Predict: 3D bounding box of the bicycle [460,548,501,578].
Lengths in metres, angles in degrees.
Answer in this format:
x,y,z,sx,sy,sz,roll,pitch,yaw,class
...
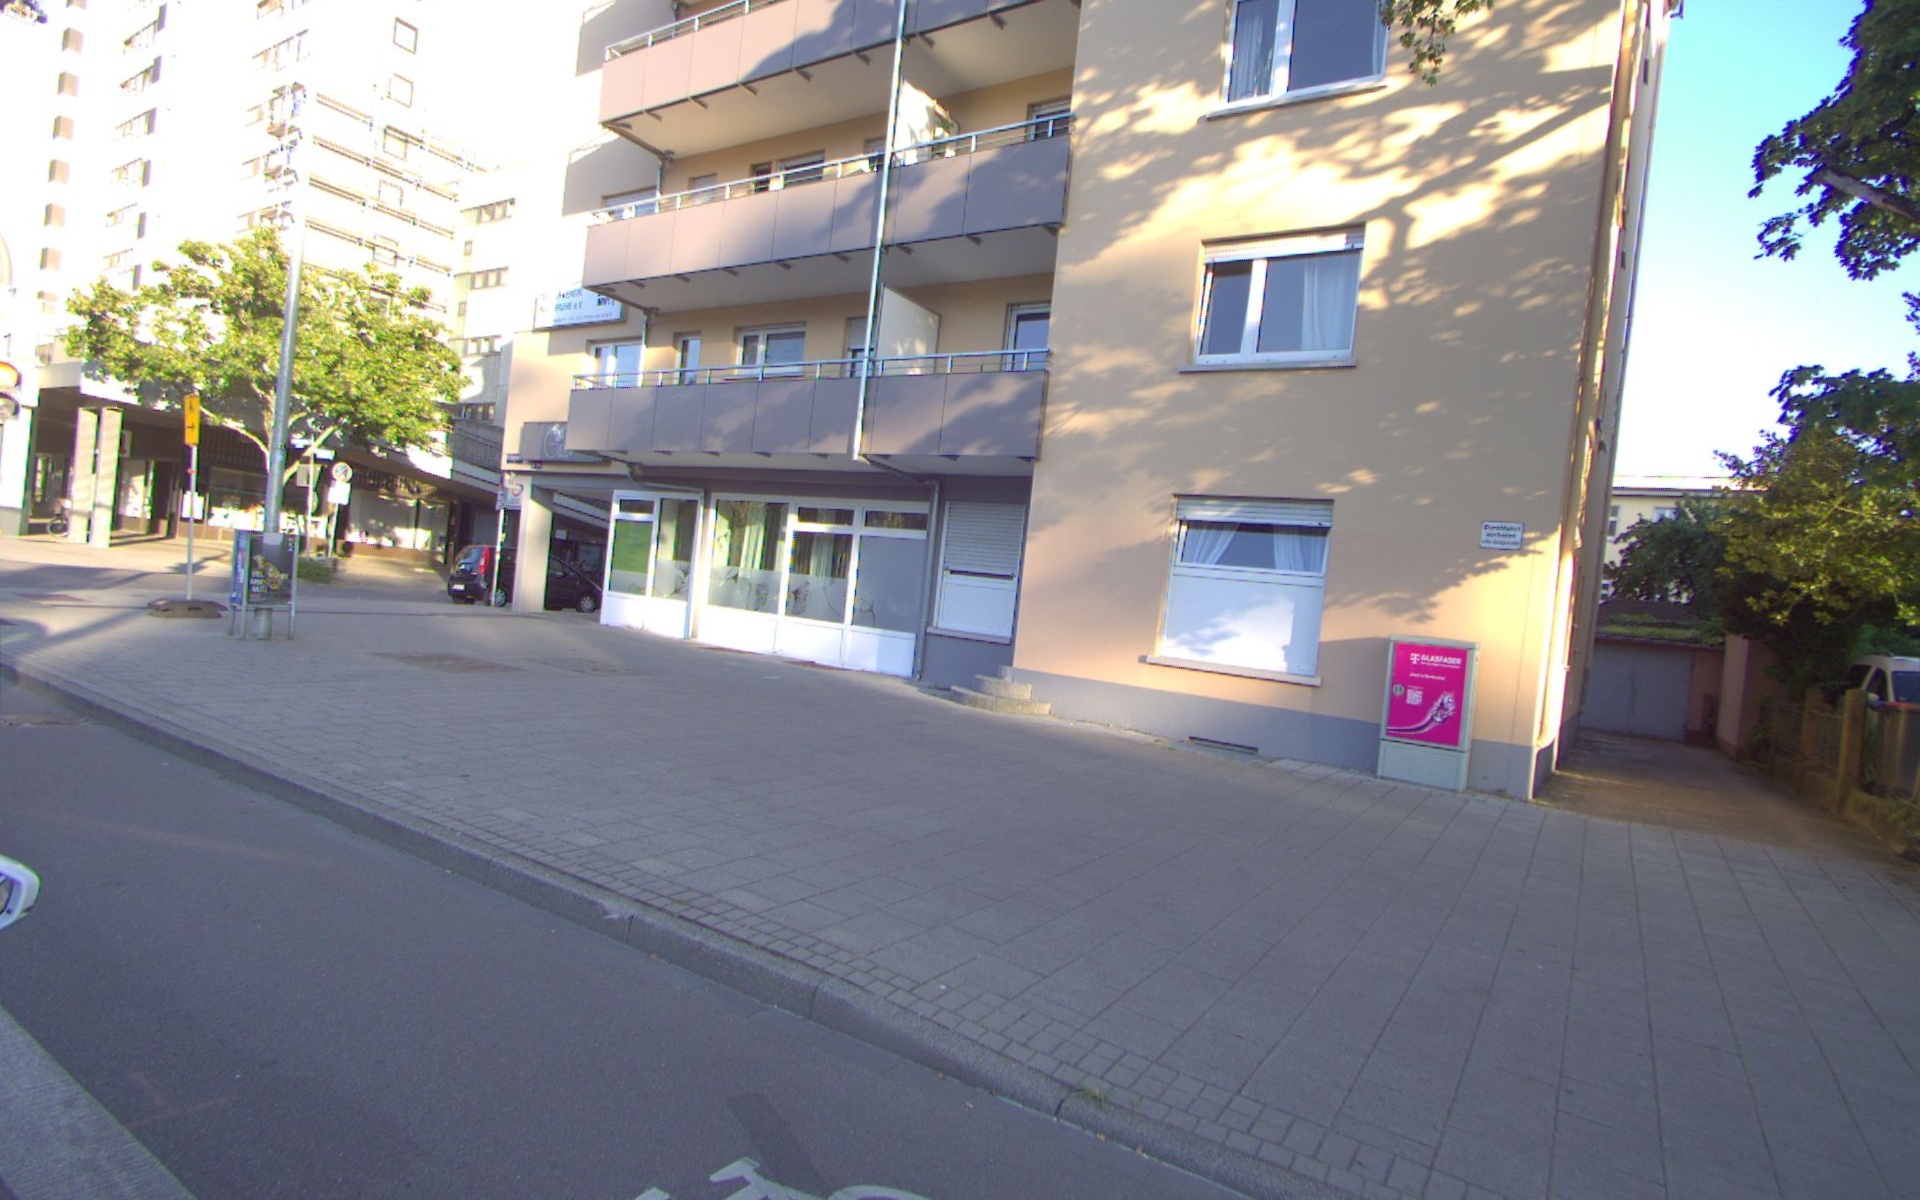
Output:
x,y,z,sx,sy,sz,roll,pitch,yaw,class
-20.187,-1.574,42.343,1.946,1.086,0.581,5,-3,35,bicycle

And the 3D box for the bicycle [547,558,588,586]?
x,y,z,sx,sy,sz,roll,pitch,yaw,class
-17.377,-1.243,44.557,1.946,1.086,0.581,5,-3,35,bicycle

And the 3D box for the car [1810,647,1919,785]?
x,y,z,sx,sy,sz,roll,pitch,yaw,class
14.584,1.734,14.973,1.794,1.780,4.513,8,2,27,car

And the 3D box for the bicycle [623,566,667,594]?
x,y,z,sx,sy,sz,roll,pitch,yaw,class
-15.136,-0.968,48.324,1.941,1.087,0.583,6,-2,21,bicycle

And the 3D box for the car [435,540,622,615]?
x,y,z,sx,sy,sz,roll,pitch,yaw,class
-10.872,-0.534,25.562,1.680,1.605,4.037,3,-1,36,car

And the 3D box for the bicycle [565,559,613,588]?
x,y,z,sx,sy,sz,roll,pitch,yaw,class
-16.996,-1.208,46.111,1.939,1.087,0.584,7,-2,13,bicycle

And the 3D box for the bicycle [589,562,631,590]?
x,y,z,sx,sy,sz,roll,pitch,yaw,class
-16.323,-1.108,46.966,1.943,1.087,0.582,6,-3,29,bicycle

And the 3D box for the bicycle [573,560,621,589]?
x,y,z,sx,sy,sz,roll,pitch,yaw,class
-16.806,-1.179,46.554,1.939,1.087,0.584,7,-2,9,bicycle

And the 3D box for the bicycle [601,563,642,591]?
x,y,z,sx,sy,sz,roll,pitch,yaw,class
-15.957,-1.073,47.404,1.943,1.087,0.582,6,-3,29,bicycle

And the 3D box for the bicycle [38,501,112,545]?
x,y,z,sx,sy,sz,roll,pitch,yaw,class
-28.968,-2.512,32.921,1.984,1.162,0.692,7,-2,14,bicycle

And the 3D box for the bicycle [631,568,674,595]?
x,y,z,sx,sy,sz,roll,pitch,yaw,class
-14.958,-0.893,48.945,1.941,1.087,0.583,6,-2,21,bicycle

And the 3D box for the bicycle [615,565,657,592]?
x,y,z,sx,sy,sz,roll,pitch,yaw,class
-15.383,-1.027,47.757,1.942,1.087,0.583,6,-3,26,bicycle
